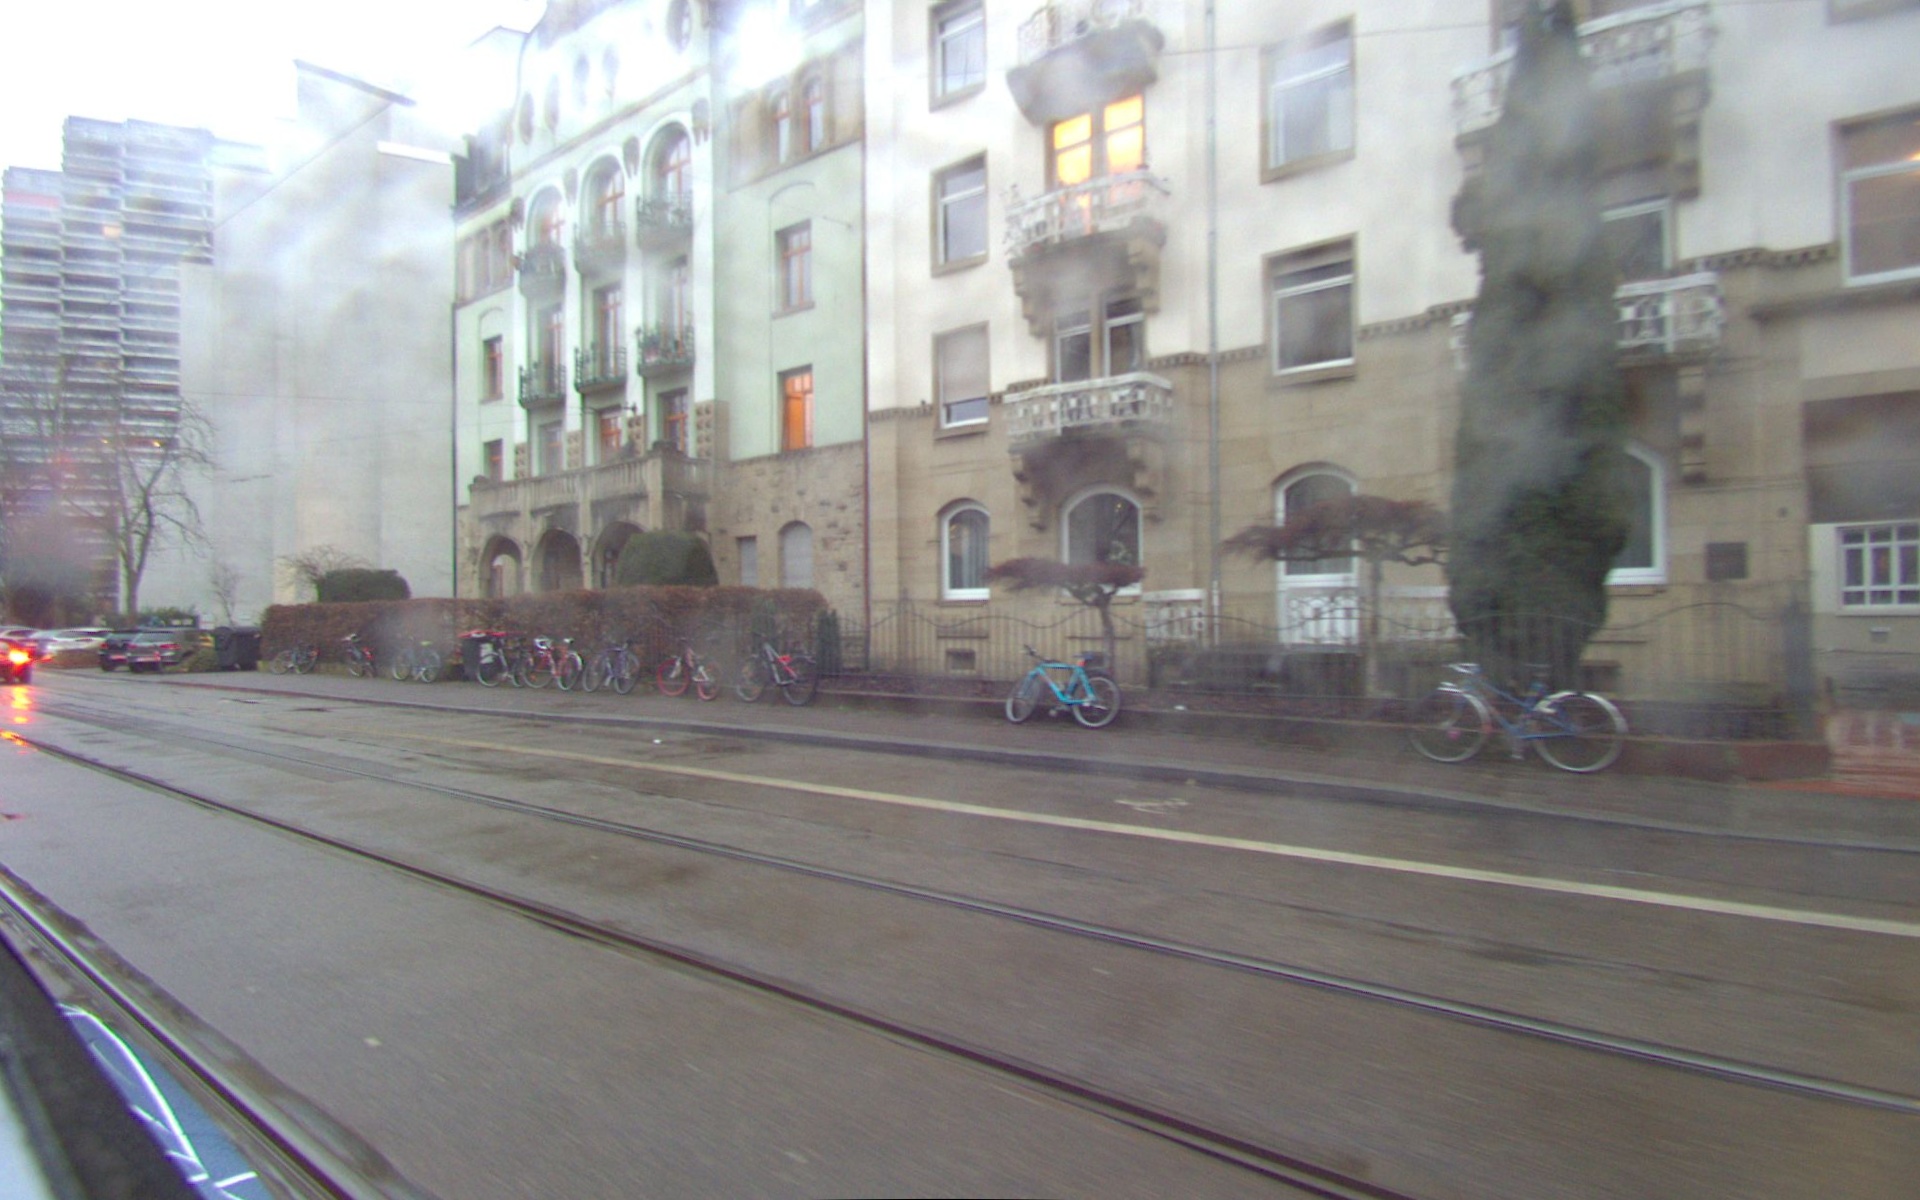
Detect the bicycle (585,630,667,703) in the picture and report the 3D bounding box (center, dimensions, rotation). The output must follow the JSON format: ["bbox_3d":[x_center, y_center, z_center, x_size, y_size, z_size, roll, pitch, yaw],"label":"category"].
[{"bbox_3d":[-5.966,1.160,18.042,1.661,1.221,0.617,-2,-2,41],"label":"bicycle"}]

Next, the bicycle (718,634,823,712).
[{"bbox_3d":[-2.952,1.102,15.678,1.782,1.134,0.617,-2,-2,41],"label":"bicycle"}]

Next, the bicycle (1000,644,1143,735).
[{"bbox_3d":[1.331,1.048,12.301,1.661,1.010,0.617,-2,-2,41],"label":"bicycle"}]

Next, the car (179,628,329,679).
[{"bbox_3d":[-23.306,1.722,33.590,1.848,1.505,3.988,-1,-1,9],"label":"car"}]

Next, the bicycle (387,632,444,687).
[{"bbox_3d":[-12.608,1.360,23.424,1.661,1.221,0.617,-2,-2,41],"label":"bicycle"}]

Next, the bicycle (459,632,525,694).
[{"bbox_3d":[-9.730,1.286,21.023,1.661,1.221,0.617,-2,-2,41],"label":"bicycle"}]

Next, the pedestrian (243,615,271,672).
[{"bbox_3d":[-22.013,1.345,31.697,0.644,1.738,0.567,0,1,42],"label":"pedestrian"}]

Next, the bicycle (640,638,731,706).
[{"bbox_3d":[-4.614,1.182,16.959,1.726,1.073,0.617,-2,-2,41],"label":"bicycle"}]

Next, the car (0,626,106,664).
[{"bbox_3d":[-41.834,2.035,46.491,1.843,1.608,3.998,-1,-1,1],"label":"car"}]

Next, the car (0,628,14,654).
[{"bbox_3d":[-61.785,2.622,63.117,1.843,1.608,3.998,-1,-1,1],"label":"car"}]

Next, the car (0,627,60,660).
[{"bbox_3d":[-49.170,2.226,52.232,1.843,1.608,3.998,-1,-1,1],"label":"car"}]

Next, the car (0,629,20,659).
[{"bbox_3d":[-53.912,2.442,55.050,1.843,1.608,3.998,-1,-1,1],"label":"car"}]

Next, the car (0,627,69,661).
[{"bbox_3d":[-46.949,2.184,50.294,1.843,1.608,3.998,-1,-1,1],"label":"car"}]

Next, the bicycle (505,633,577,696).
[{"bbox_3d":[-8.163,1.236,19.702,1.661,1.173,0.617,-2,-2,41],"label":"bicycle"}]

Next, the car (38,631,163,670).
[{"bbox_3d":[-36.167,2.088,42.719,1.843,1.460,3.998,-1,-1,1],"label":"car"}]

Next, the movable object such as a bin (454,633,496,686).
[{"bbox_3d":[-11.060,1.352,23.067,0.674,1.173,0.651,-2,-2,41],"label":"movable object such as a bin"}]

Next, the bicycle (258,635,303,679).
[{"bbox_3d":[-18.819,1.562,28.007,1.661,1.173,0.617,-2,-1,41],"label":"bicycle"}]

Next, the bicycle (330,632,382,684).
[{"bbox_3d":[-14.955,1.412,25.040,1.661,1.221,0.617,-2,-2,41],"label":"bicycle"}]

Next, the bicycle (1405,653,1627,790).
[{"bbox_3d":[5.025,1.051,9.211,1.661,1.101,0.617,-2,-2,41],"label":"bicycle"}]

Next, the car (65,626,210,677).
[{"bbox_3d":[-28.694,1.756,35.478,1.843,1.608,3.998,-1,-1,1],"label":"car"}]

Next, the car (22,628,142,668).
[{"bbox_3d":[-38.976,2.095,45.063,1.843,1.608,3.998,-1,-1,1],"label":"car"}]

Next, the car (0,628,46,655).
[{"bbox_3d":[-59.429,2.576,62.782,1.843,1.608,3.998,-1,-1,1],"label":"car"}]

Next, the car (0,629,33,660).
[{"bbox_3d":[-51.815,2.381,53.583,1.843,1.608,3.998,-1,-1,1],"label":"car"}]

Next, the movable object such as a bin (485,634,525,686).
[{"bbox_3d":[-10.603,1.379,23.590,0.674,1.173,0.617,-2,-2,41],"label":"movable object such as a bin"}]

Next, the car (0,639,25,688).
[{"bbox_3d":[-26.466,1.691,27.135,3.665,1.262,1.688,-2,-2,42],"label":"car"}]

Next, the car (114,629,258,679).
[{"bbox_3d":[-25.878,1.778,34.007,1.740,1.497,3.998,-1,-1,1],"label":"car"}]
